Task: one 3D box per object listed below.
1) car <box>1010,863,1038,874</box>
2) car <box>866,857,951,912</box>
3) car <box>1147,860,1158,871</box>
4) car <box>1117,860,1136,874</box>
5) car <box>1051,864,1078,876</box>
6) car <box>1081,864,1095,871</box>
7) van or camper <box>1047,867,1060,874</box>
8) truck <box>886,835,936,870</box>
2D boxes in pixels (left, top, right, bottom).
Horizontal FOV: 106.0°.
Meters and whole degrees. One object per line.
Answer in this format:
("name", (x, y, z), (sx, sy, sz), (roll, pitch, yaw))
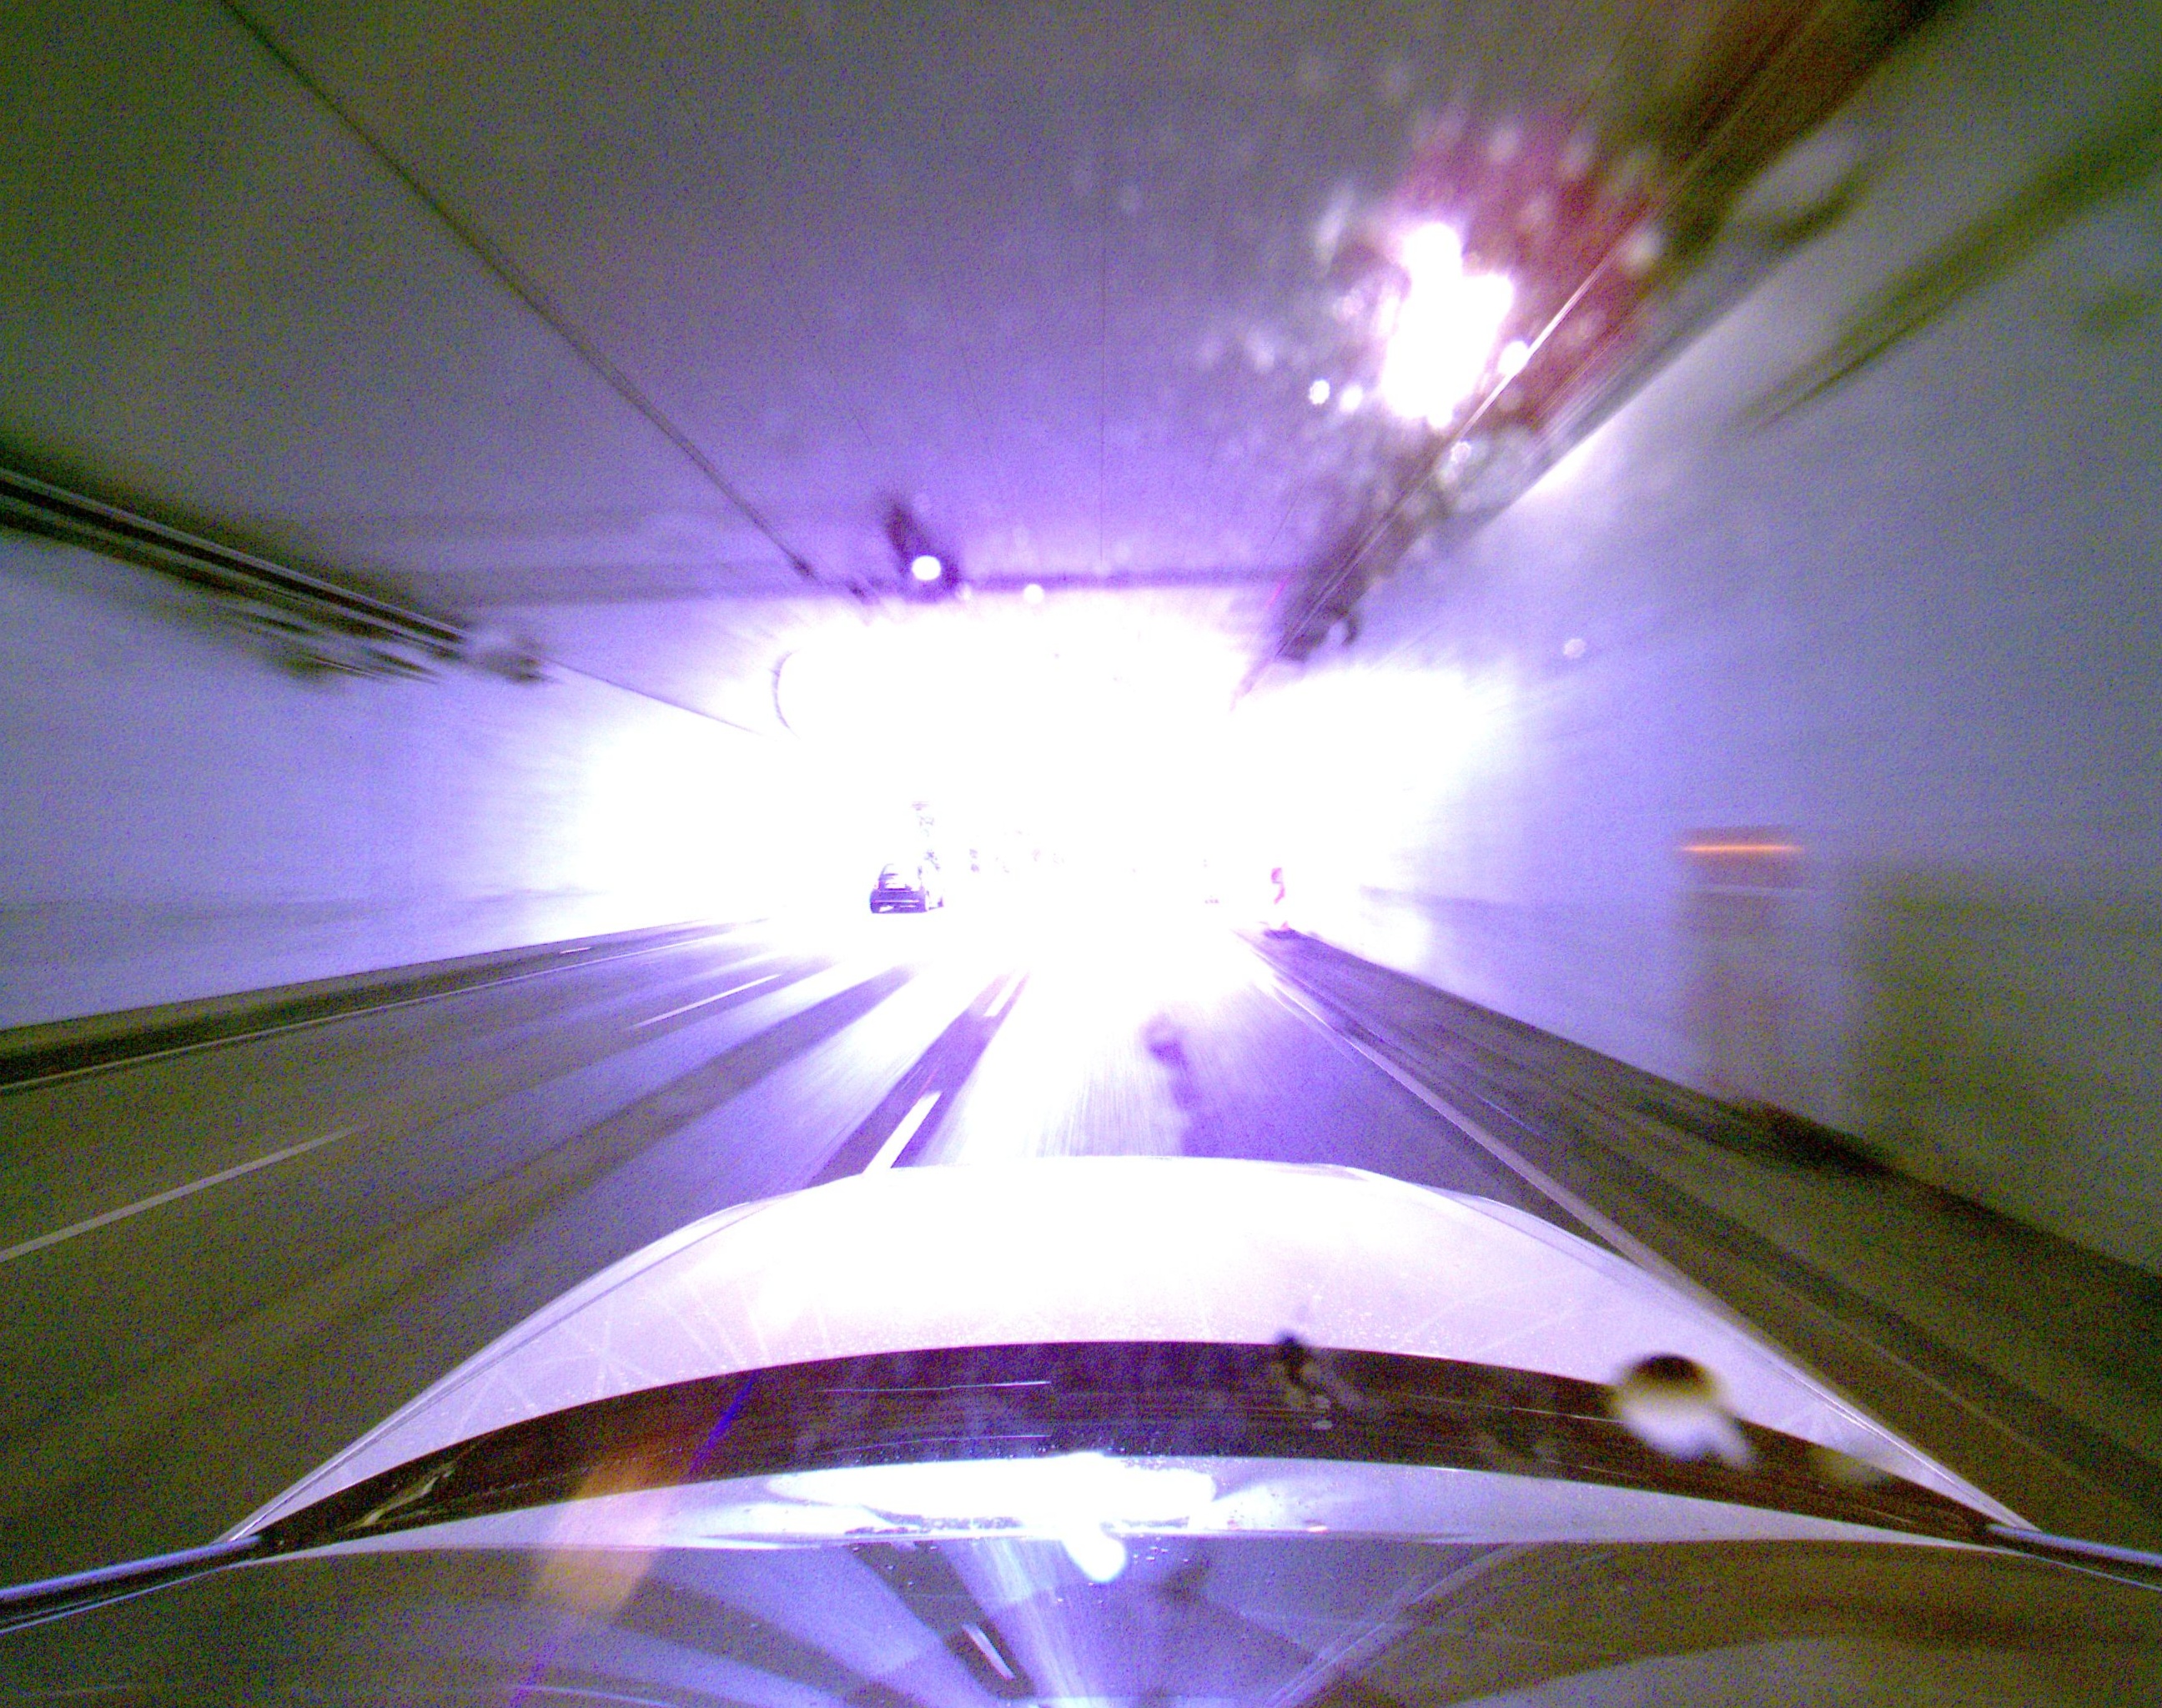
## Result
("car", (-8.639, 2.154, 122.444), (3.949, 1.684, 1.909), (0, 0, 40))
("car", (-5.036, 0.838, 24.191), (1.606, 1.454, 3.574), (-1, 0, 2))
("car", (14.100, 2.263, 160.553), (1.986, 2.014, 4.001), (1, -1, 1))
("car", (4.990, 1.504, 90.005), (1.985, 1.448, 4.316), (1, -2, 2))
("car", (-2.352, 2.262, 115.407), (1.905, 1.684, 3.957), (2, -1, -35))
("car", (1.315, 2.564, 153.001), (1.997, 1.301, 4.326), (1, -2, 9))
("van or camper", (-5.706, 3.428, 167.898), (1.997, 1.301, 4.101), (1, -2, 9))
("truck", (-16.503, -0.118, 79.546), (2.784, 3.276, 7.155), (1, 0, 4))
